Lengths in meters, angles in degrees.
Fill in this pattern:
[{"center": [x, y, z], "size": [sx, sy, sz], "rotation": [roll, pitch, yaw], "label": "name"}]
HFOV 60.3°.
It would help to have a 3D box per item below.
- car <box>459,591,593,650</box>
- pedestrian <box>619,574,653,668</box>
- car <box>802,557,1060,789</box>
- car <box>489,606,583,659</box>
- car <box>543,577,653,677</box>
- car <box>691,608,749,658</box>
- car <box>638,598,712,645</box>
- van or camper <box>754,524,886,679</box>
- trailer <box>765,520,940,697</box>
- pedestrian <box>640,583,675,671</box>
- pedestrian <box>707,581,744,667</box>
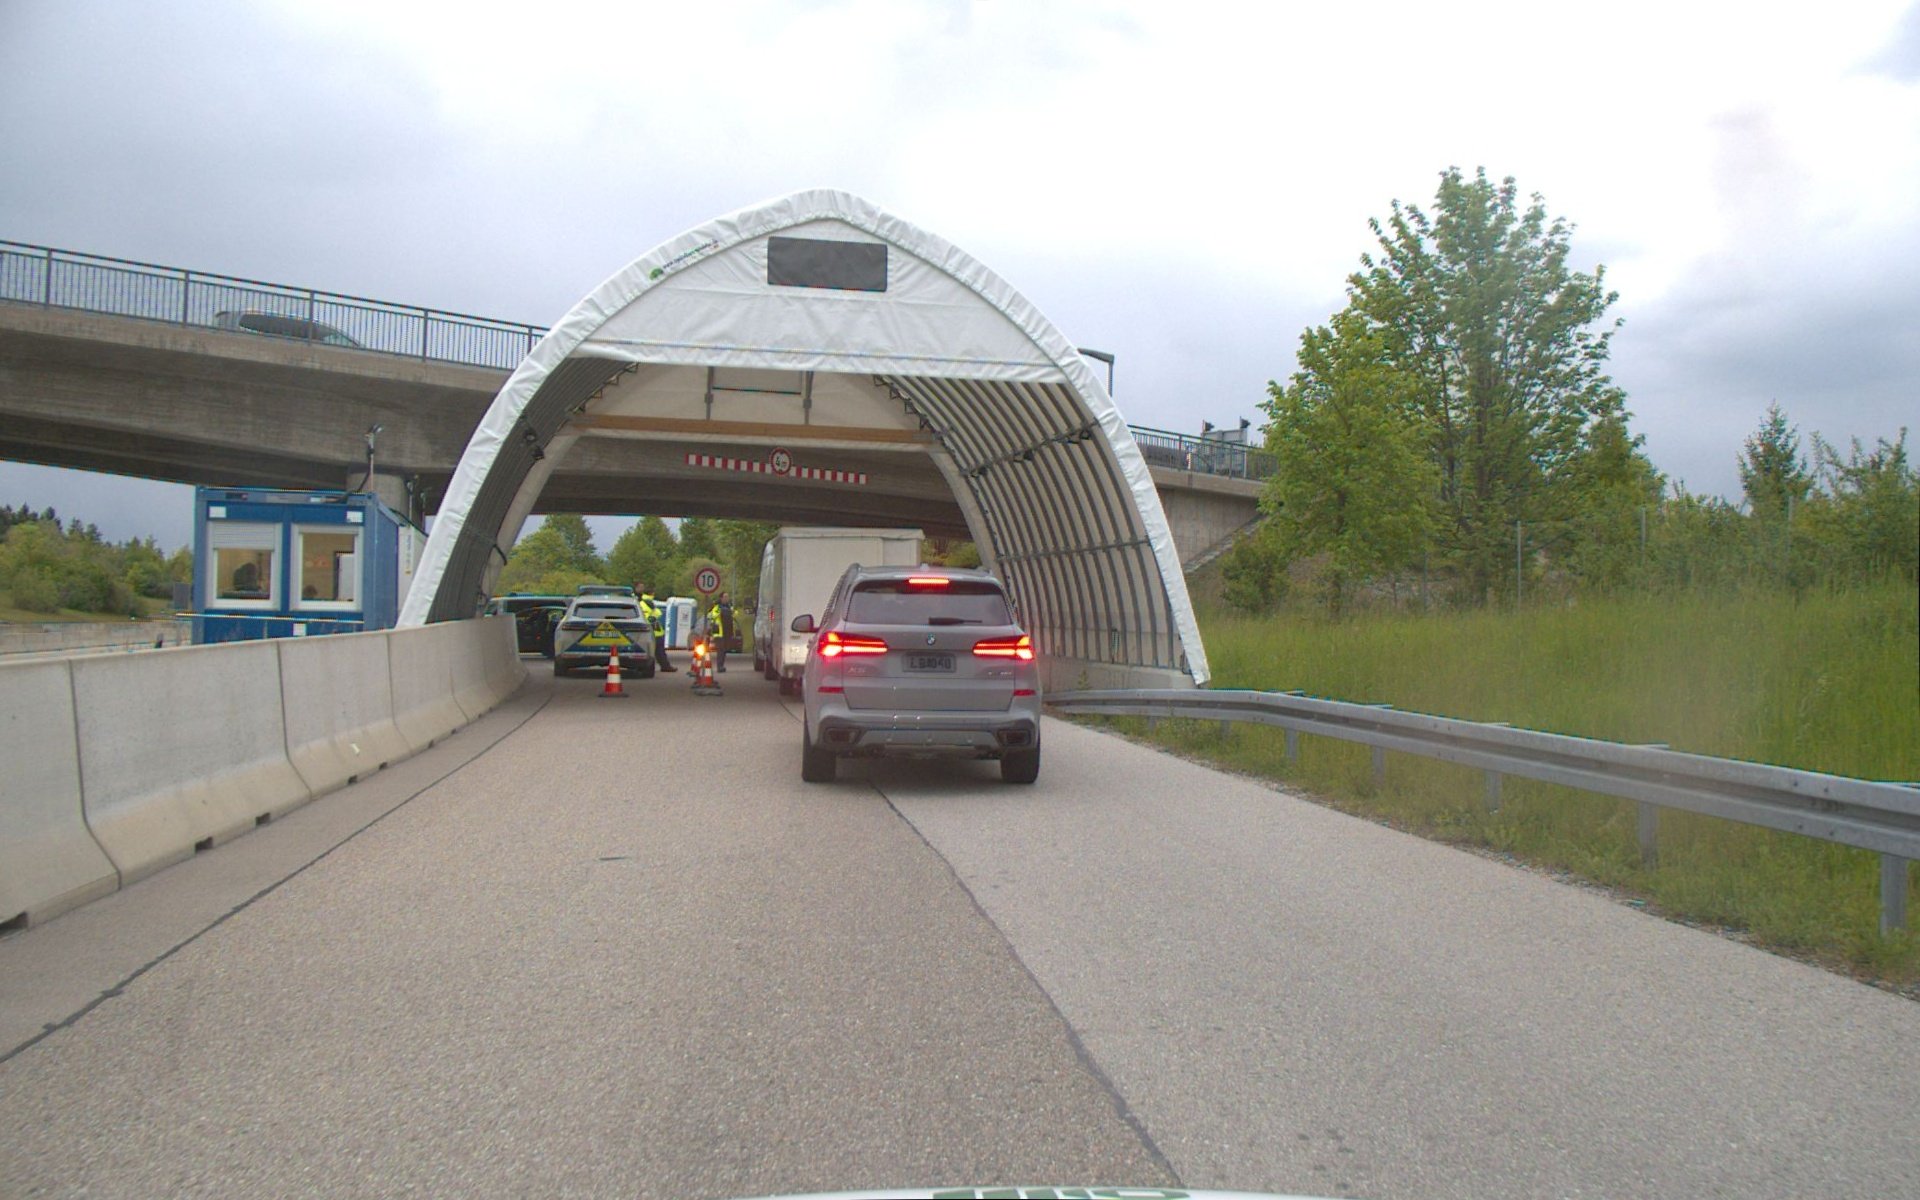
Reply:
[{"center": [-14.226, 0.661, 54.318], "size": [3.903, 1.886, 1.710], "rotation": [0, 0, 4], "label": "car"}, {"center": [-6.918, 0.451, 35.333], "size": [0.707, 1.979, 0.688], "rotation": [0, -1, -11], "label": "pedestrian"}, {"center": [-0.345, 0.579, 14.543], "size": [1.954, 1.750, 3.996], "rotation": [0, -1, -4], "label": "car"}, {"center": [-12.172, 0.899, 47.397], "size": [1.503, 1.467, 3.272], "rotation": [0, -1, -37], "label": "car"}, {"center": [-6.949, 0.494, 31.930], "size": [1.958, 1.803, 3.754], "rotation": [0, 0, -12], "label": "car"}, {"center": [-9.264, 1.240, 63.695], "size": [1.676, 1.886, 3.982], "rotation": [0, 0, -16], "label": "car"}, {"center": [-12.650, 0.942, 73.212], "size": [1.973, 2.049, 3.959], "rotation": [0, -1, -30], "label": "car"}, {"center": [-2.888, 0.089, 32.942], "size": [2.117, 2.812, 5.857], "rotation": [0, -1, -10], "label": "van or camper"}, {"center": [-1.902, 0.192, 26.724], "size": [2.237, 2.473, 6.803], "rotation": [0, -1, -9], "label": "trailer"}, {"center": [-6.299, 0.552, 34.438], "size": [0.707, 1.807, 0.688], "rotation": [0, -1, -11], "label": "pedestrian"}, {"center": [-4.967, 0.508, 35.019], "size": [0.591, 1.807, 0.650], "rotation": [0, -1, 10], "label": "pedestrian"}]
